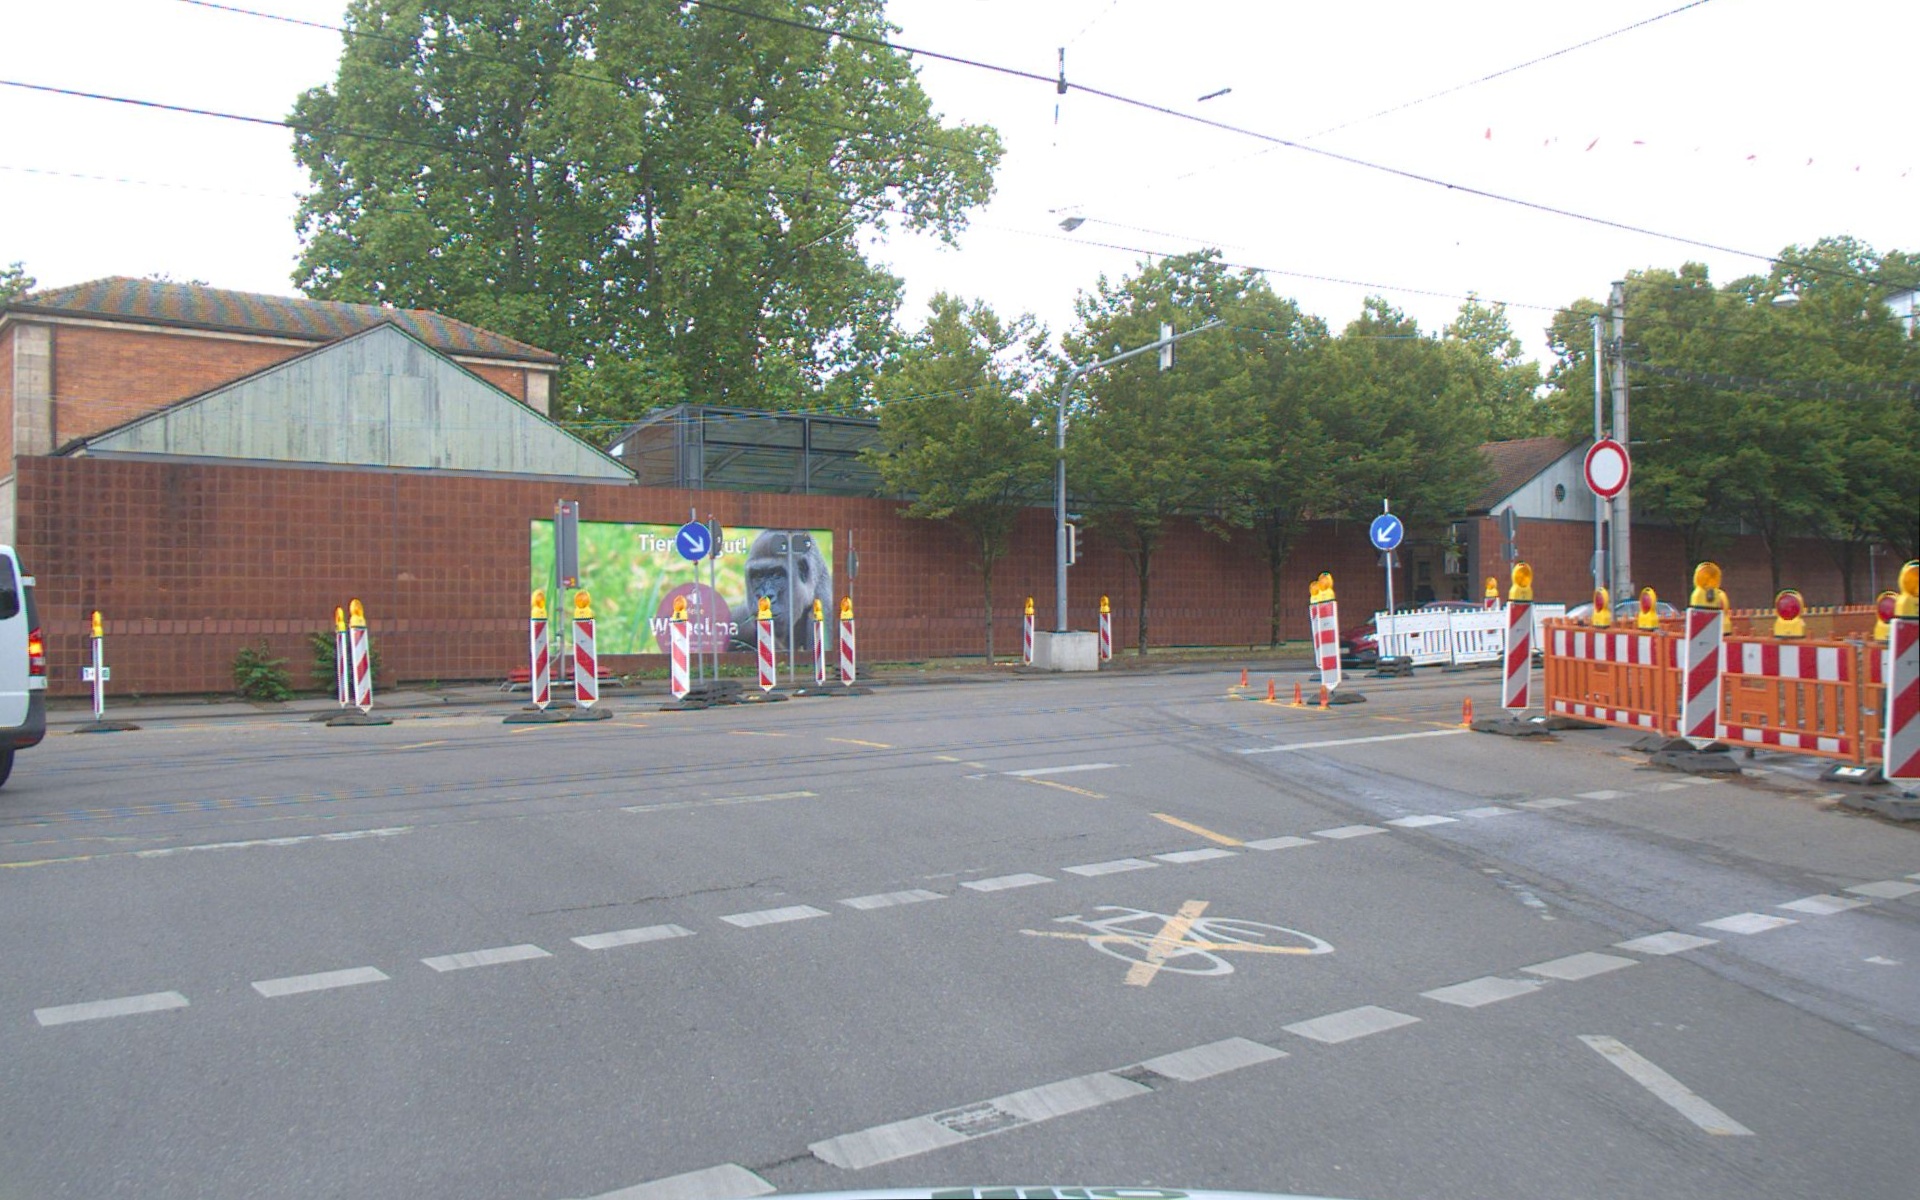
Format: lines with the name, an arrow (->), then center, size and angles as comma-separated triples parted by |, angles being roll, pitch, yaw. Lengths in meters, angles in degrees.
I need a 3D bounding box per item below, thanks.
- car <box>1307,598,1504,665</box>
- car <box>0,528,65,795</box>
car -> 10.384, 0.734, 38.491 | 4.395, 1.468, 1.862 | 0, -2, -29
car -> -9.093, 0.524, 13.015 | 4.610, 1.934, 1.915 | -2, 0, 38
